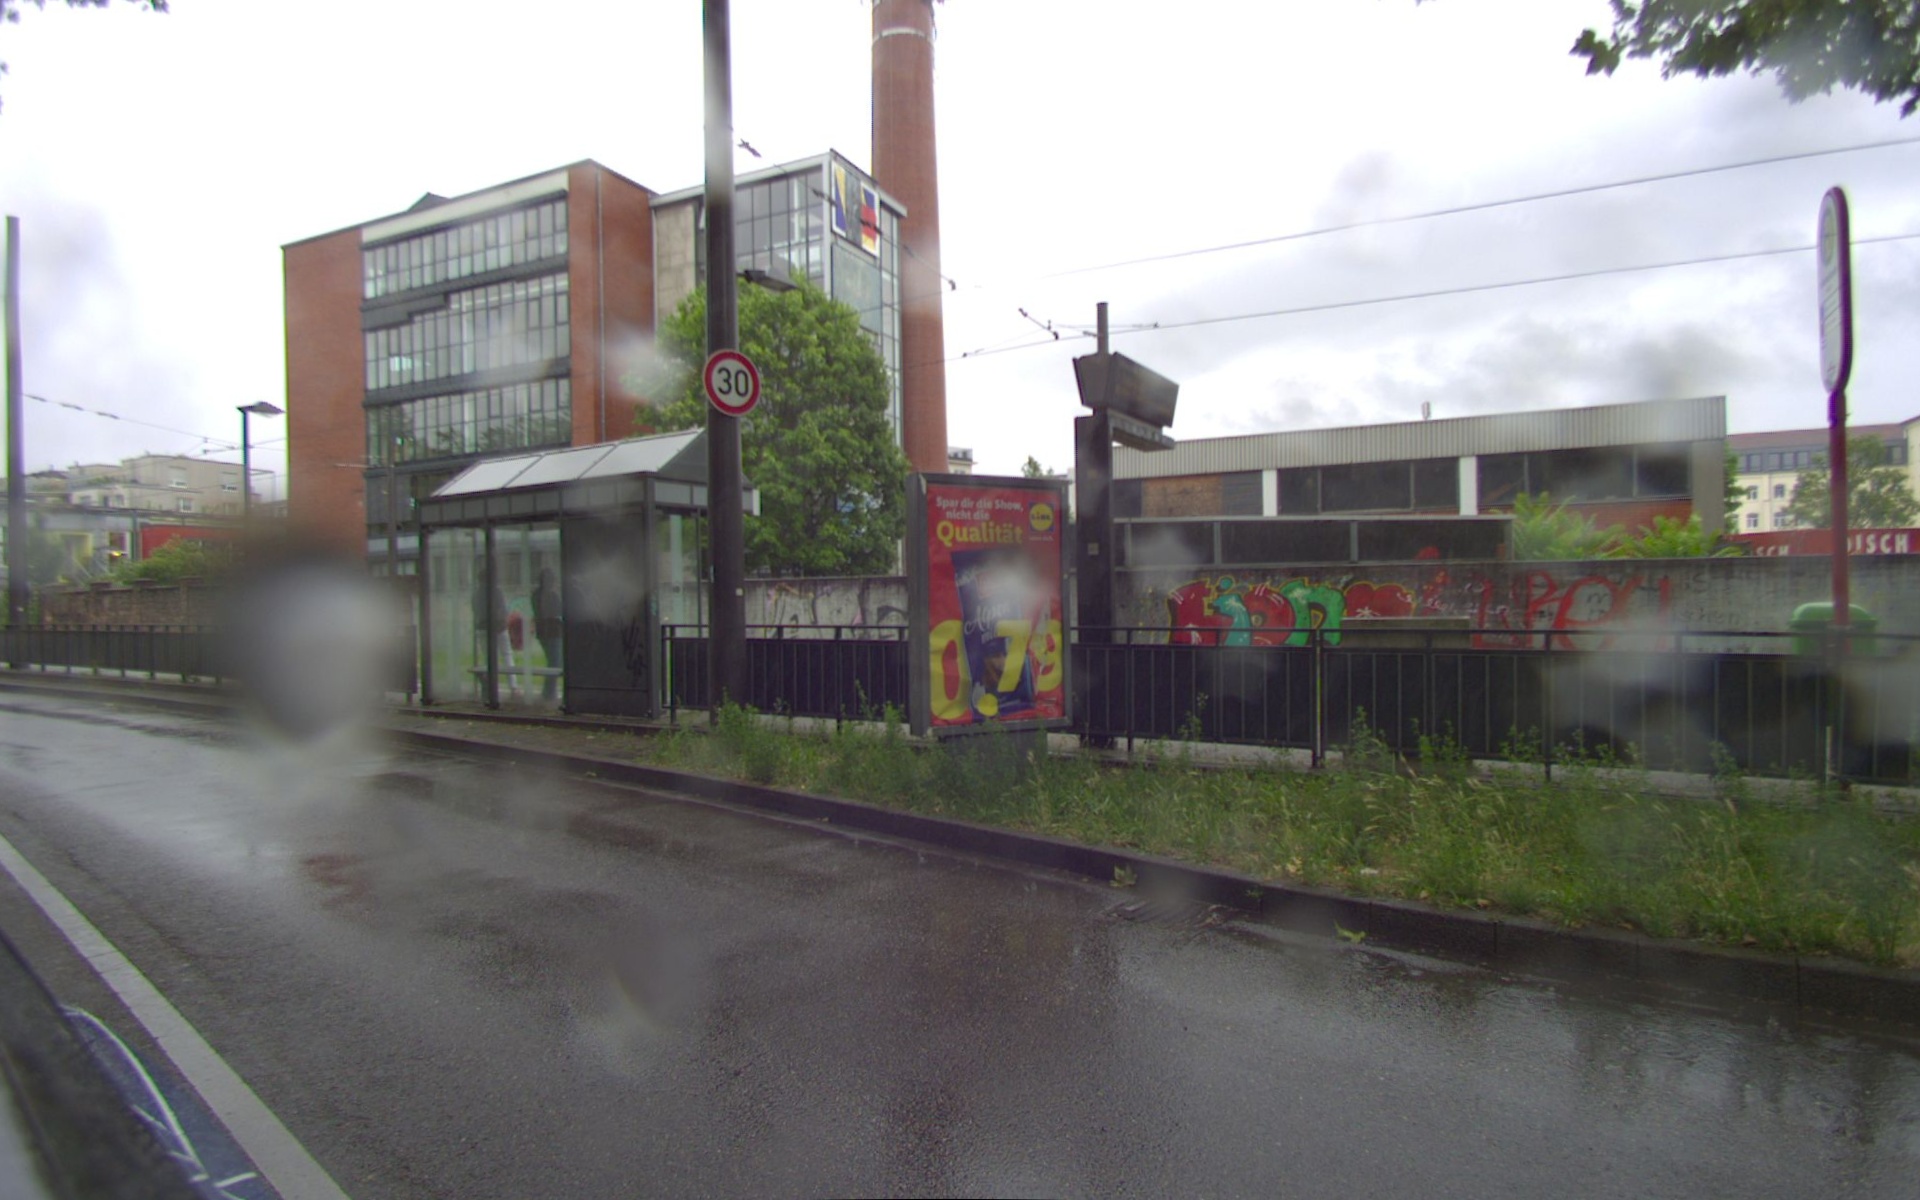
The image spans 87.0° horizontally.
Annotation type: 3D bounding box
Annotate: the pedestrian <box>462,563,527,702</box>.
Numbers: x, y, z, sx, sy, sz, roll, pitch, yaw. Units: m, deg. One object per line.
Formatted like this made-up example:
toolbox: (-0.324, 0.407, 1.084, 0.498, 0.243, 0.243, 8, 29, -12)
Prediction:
pedestrian: (-5.955, 0.413, 12.958, 0.560, 1.744, 0.583, 0, -2, -1)

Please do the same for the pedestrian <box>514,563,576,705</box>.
pedestrian: (-5.223, 0.421, 12.757, 0.560, 1.744, 0.583, 0, -2, -3)

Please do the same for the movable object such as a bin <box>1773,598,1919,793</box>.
movable object such as a bin: (5.235, 0.544, 6.006, 0.528, 1.098, 0.414, -1, -2, 25)
